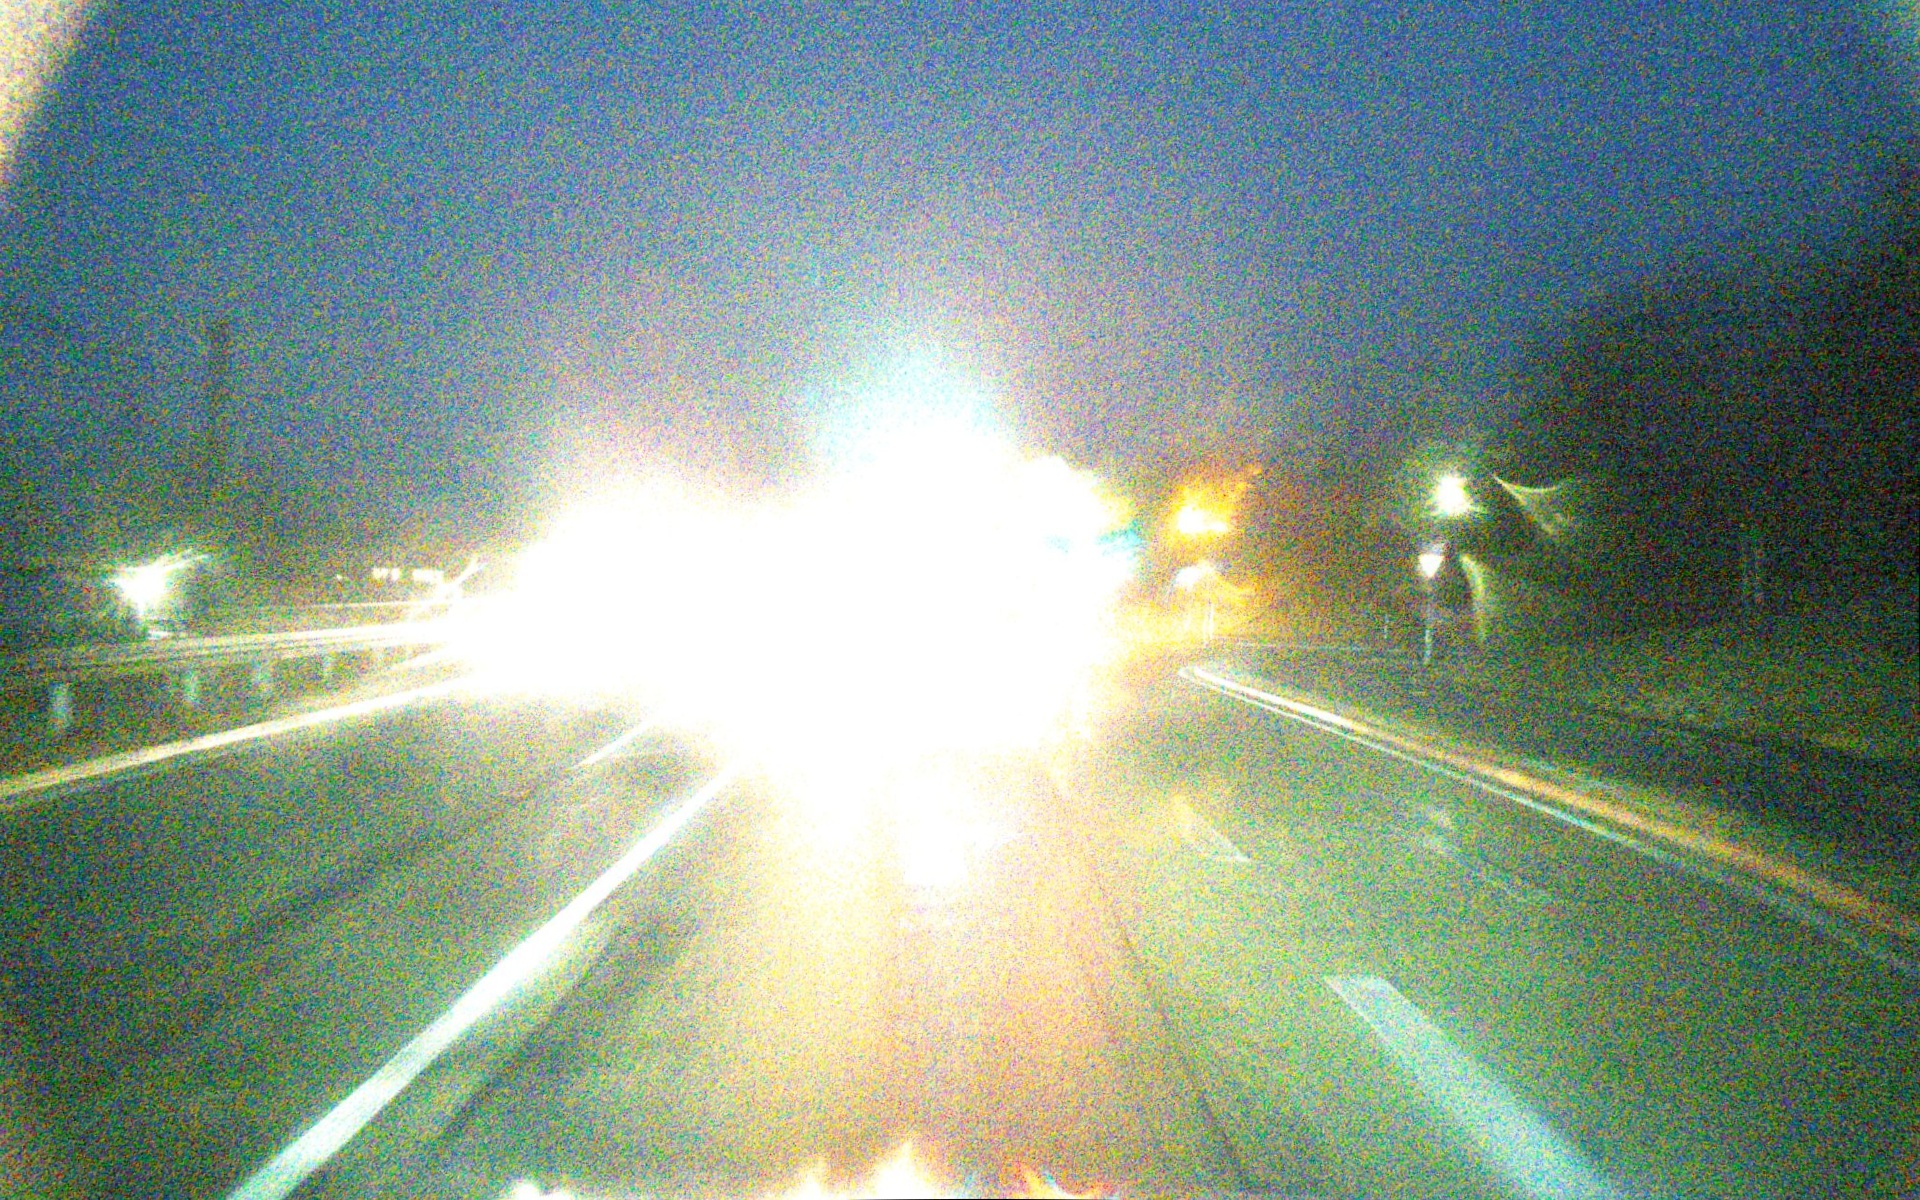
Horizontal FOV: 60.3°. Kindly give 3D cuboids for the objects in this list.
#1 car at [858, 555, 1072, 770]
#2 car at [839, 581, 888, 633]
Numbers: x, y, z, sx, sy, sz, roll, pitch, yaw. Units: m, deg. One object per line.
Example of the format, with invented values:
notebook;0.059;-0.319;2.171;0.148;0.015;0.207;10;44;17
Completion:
car;-0.029;0.517;15.568;1.739;1.742;3.998;1;0;-2
car;-4.107;0.313;69.838;1.955;2.049;3.995;0;-2;-5
